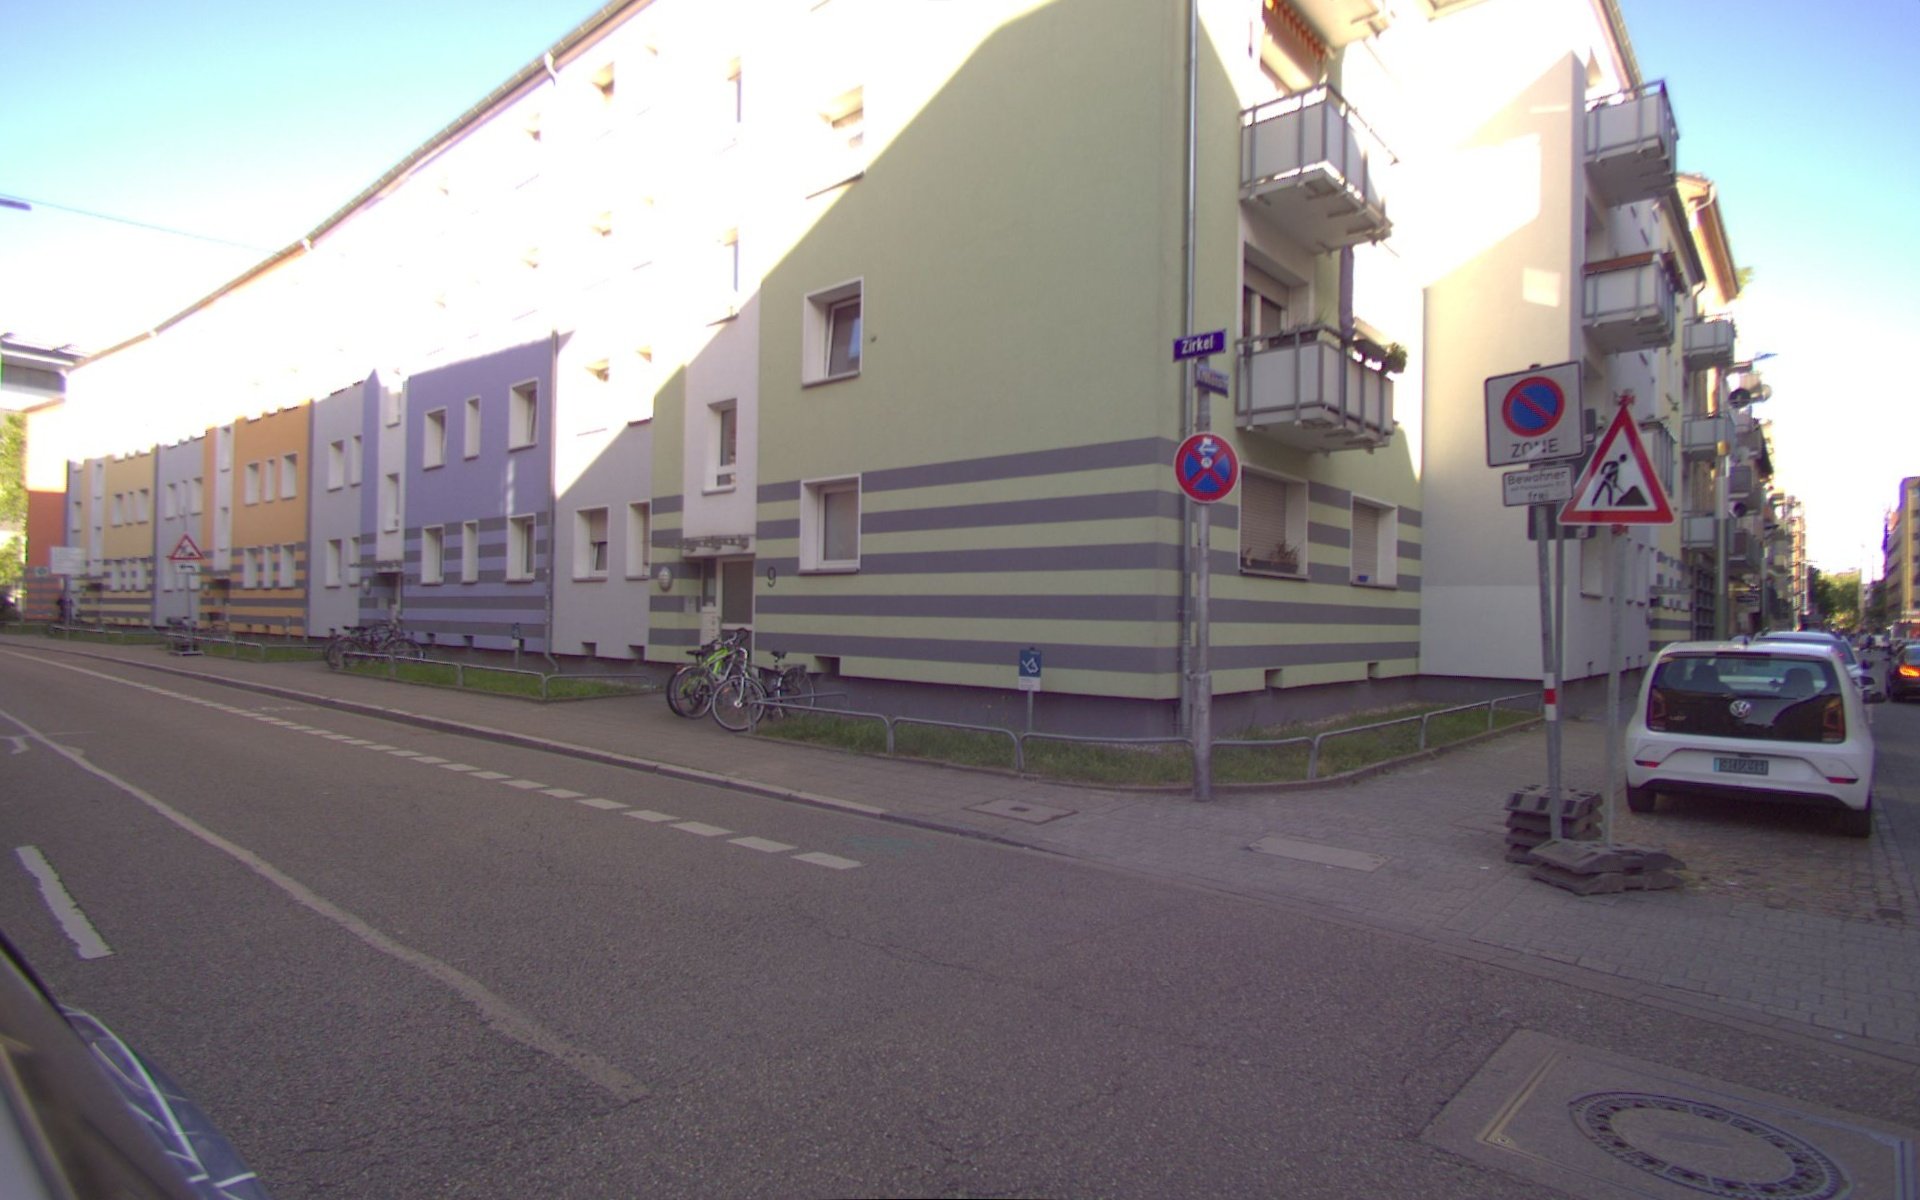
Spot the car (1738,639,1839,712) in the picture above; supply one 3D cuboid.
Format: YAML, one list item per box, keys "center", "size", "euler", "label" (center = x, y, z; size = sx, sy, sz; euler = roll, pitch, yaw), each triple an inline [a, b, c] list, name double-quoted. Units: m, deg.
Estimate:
- center: [17.255, 1.513, 21.096]
  size: [1.485, 1.400, 3.360]
  euler: [-2, -3, 39]
  label: "car"

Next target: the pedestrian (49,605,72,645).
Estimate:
- center: [-38.305, 1.060, 43.112]
  size: [0.447, 1.663, 0.605]
  euler: [0, -2, 36]
  label: "pedestrian"

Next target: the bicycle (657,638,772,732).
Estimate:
- center: [-3.403, 1.152, 14.154]
  size: [0.387, 1.109, 1.719]
  euler: [-1, 2, 34]
  label: "bicycle"

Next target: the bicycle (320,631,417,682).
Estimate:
- center: [-12.941, 1.225, 22.192]
  size: [0.388, 0.953, 1.779]
  euler: [-1, 2, 41]
  label: "bicycle"

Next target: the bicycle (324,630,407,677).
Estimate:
- center: [-14.025, 1.247, 23.909]
  size: [0.388, 0.953, 1.636]
  euler: [-1, 2, 41]
  label: "bicycle"

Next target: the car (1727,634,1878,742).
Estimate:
- center: [14.387, 1.411, 17.435]
  size: [1.757, 1.623, 4.094]
  euler: [-2, -3, 38]
  label: "car"

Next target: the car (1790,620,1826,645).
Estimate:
- center: [52.234, 2.000, 62.310]
  size: [1.585, 1.519, 3.846]
  euler: [-1, -2, 42]
  label: "car"

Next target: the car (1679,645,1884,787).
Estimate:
- center: [10.428, 1.318, 12.872]
  size: [1.758, 1.408, 4.270]
  euler: [0, -2, 40]
  label: "car"

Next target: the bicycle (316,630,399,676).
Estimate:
- center: [-14.354, 1.255, 24.149]
  size: [0.388, 0.953, 1.636]
  euler: [-1, 2, 41]
  label: "bicycle"

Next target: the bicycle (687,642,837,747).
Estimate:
- center: [-2.509, 1.164, 12.997]
  size: [0.749, 1.109, 1.797]
  euler: [-1, 2, 41]
  label: "bicycle"

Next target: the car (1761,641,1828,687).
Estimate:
- center: [24.743, 1.863, 29.981]
  size: [1.259, 1.300, 3.039]
  euler: [-3, -3, 44]
  label: "car"

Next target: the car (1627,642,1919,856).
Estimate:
- center: [7.167, 1.126, 8.971]
  size: [1.724, 1.448, 3.299]
  euler: [0, -2, 40]
  label: "car"

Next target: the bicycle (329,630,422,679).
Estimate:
- center: [-13.217, 1.221, 22.927]
  size: [0.388, 0.953, 1.779]
  euler: [-1, 2, 41]
  label: "bicycle"

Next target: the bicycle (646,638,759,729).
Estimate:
- center: [-3.652, 1.162, 14.484]
  size: [0.387, 1.109, 1.719]
  euler: [-1, 2, 34]
  label: "bicycle"

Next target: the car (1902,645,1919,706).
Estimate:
- center: [24.098, 1.834, 24.651]
  size: [1.585, 1.392, 3.846]
  euler: [-1, -2, 42]
  label: "car"

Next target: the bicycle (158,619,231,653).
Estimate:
- center: [-25.330, 1.179, 33.499]
  size: [0.653, 0.990, 1.786]
  euler: [0, 2, 38]
  label: "bicycle"
